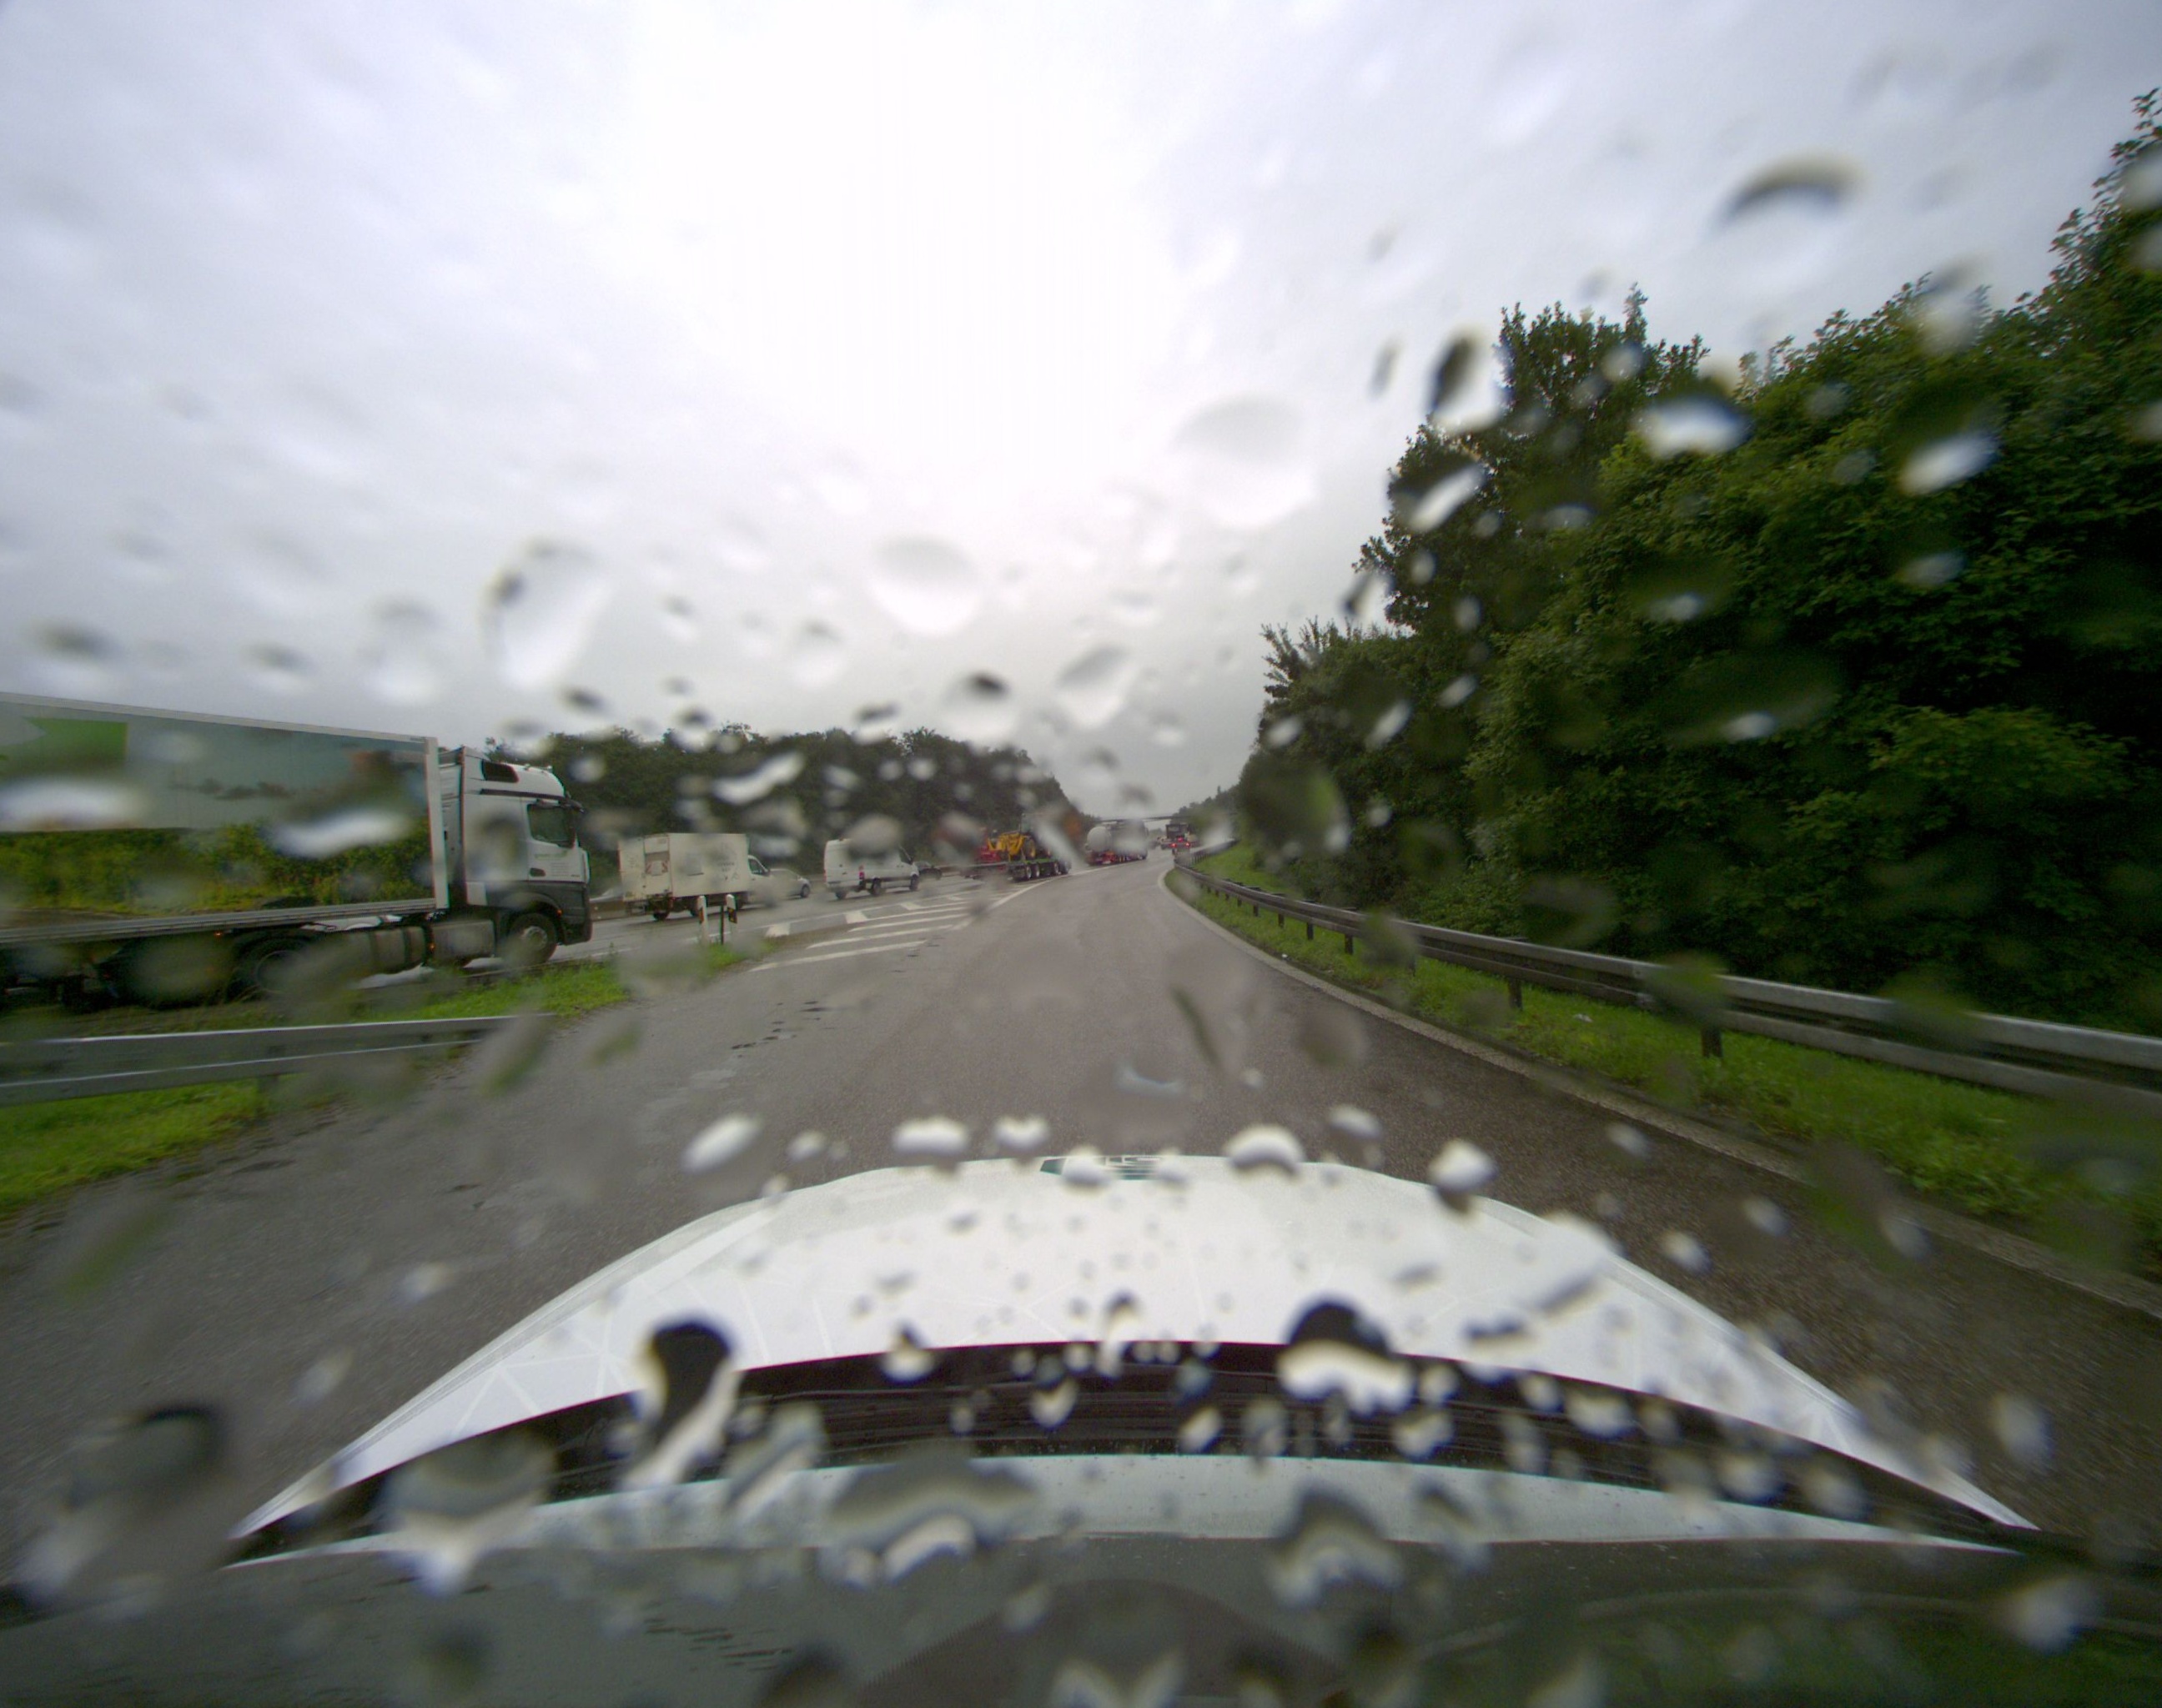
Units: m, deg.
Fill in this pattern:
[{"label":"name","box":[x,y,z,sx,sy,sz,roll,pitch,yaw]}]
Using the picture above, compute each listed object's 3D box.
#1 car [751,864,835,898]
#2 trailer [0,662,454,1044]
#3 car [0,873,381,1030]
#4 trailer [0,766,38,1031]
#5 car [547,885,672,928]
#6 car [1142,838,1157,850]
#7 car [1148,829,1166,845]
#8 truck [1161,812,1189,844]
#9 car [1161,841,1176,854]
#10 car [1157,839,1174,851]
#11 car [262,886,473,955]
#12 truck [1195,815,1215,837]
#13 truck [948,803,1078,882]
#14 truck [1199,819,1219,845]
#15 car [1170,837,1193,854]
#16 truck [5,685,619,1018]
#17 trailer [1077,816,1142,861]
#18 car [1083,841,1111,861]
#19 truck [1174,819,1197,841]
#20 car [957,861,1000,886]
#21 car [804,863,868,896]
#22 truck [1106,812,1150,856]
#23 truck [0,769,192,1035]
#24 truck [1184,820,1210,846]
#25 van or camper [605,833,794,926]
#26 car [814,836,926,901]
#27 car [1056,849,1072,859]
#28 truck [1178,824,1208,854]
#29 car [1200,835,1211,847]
[{"label":"car","box":[-15.533,1.428,44.212,1.852,1.522,4.650,-4,0,16]},{"label":"trailer","box":[-13.898,0.105,7.308,2.895,4.205,13.699,-4,0,18]},{"label":"car","box":[-19.607,1.886,17.039,2.131,2.488,7.399,-4,0,17]},{"label":"trailer","box":[-18.857,0.904,5.903,2.607,3.863,13.736,-4,0,16]},{"label":"car","box":[-20.668,2.267,35.977,1.731,1.424,4.855,-4,0,17]},{"label":"car","box":[11.400,-1.678,134.803,1.785,1.903,4.014,-4,0,13]},{"label":"car","box":[15.603,-3.477,166.234,3.075,3.002,6.794,-1,0,11]},{"label":"truck","box":[16.938,-4.520,145.801,3.728,5.499,10.209,-1,0,13]},{"label":"car","box":[13.414,-1.047,124.771,1.786,1.904,4.013,-1,0,12]},{"label":"car","box":[20.589,-2.164,198.604,3.224,3.002,6.797,-1,0,13]},{"label":"car","box":[-20.929,1.906,24.161,1.602,1.522,4.434,-4,0,17]},{"label":"truck","box":[25.310,-5.595,165.867,3.732,3.970,11.089,-1,0,10]},{"label":"truck","box":[-3.328,-0.712,44.978,2.809,3.588,11.849,-5,0,16]},{"label":"truck","box":[29.705,-5.018,188.574,4.309,5.763,9.760,-1,0,11]},{"label":"car","box":[10.539,-0.874,85.308,1.980,1.636,4.014,-1,0,12]},{"label":"truck","box":[-11.898,-0.018,13.707,2.895,4.099,6.750,-4,0,17]},{"label":"trailer","box":[2.531,-1.379,67.419,2.852,3.288,10.122,-4,1,16]},{"label":"car","box":[1.573,-0.323,77.844,1.806,1.766,4.015,-3,1,14]},{"label":"truck","box":[22.009,-4.944,171.394,3.552,4.095,10.918,-4,-1,13]},{"label":"car","box":[-7.423,1.426,59.569,1.773,1.727,4.015,-1,0,14]},{"label":"car","box":[-15.148,1.563,50.592,1.762,1.706,4.018,-4,0,17]},{"label":"truck","box":[4.329,-1.835,74.032,2.856,3.693,5.077,-4,1,15]},{"label":"truck","box":[-17.109,0.786,11.947,2.607,3.863,4.609,-4,0,16]},{"label":"truck","box":[20.421,-3.541,142.563,3.482,4.268,10.643,-1,0,14]},{"label":"van or camper","box":[-14.910,0.857,32.600,2.560,3.203,7.161,-4,0,16]},{"label":"car","box":[-9.672,0.572,37.956,2.198,2.629,5.869,-4,0,16]},{"label":"car","box":[-3.259,-0.056,156.633,1.979,1.754,4.016,-4,0,15]},{"label":"truck","box":[17.568,-2.405,126.864,3.577,4.104,11.598,-4,1,11]},{"label":"car","box":[23.096,-2.400,150.916,1.786,1.903,4.013,-4,0,12]}]
